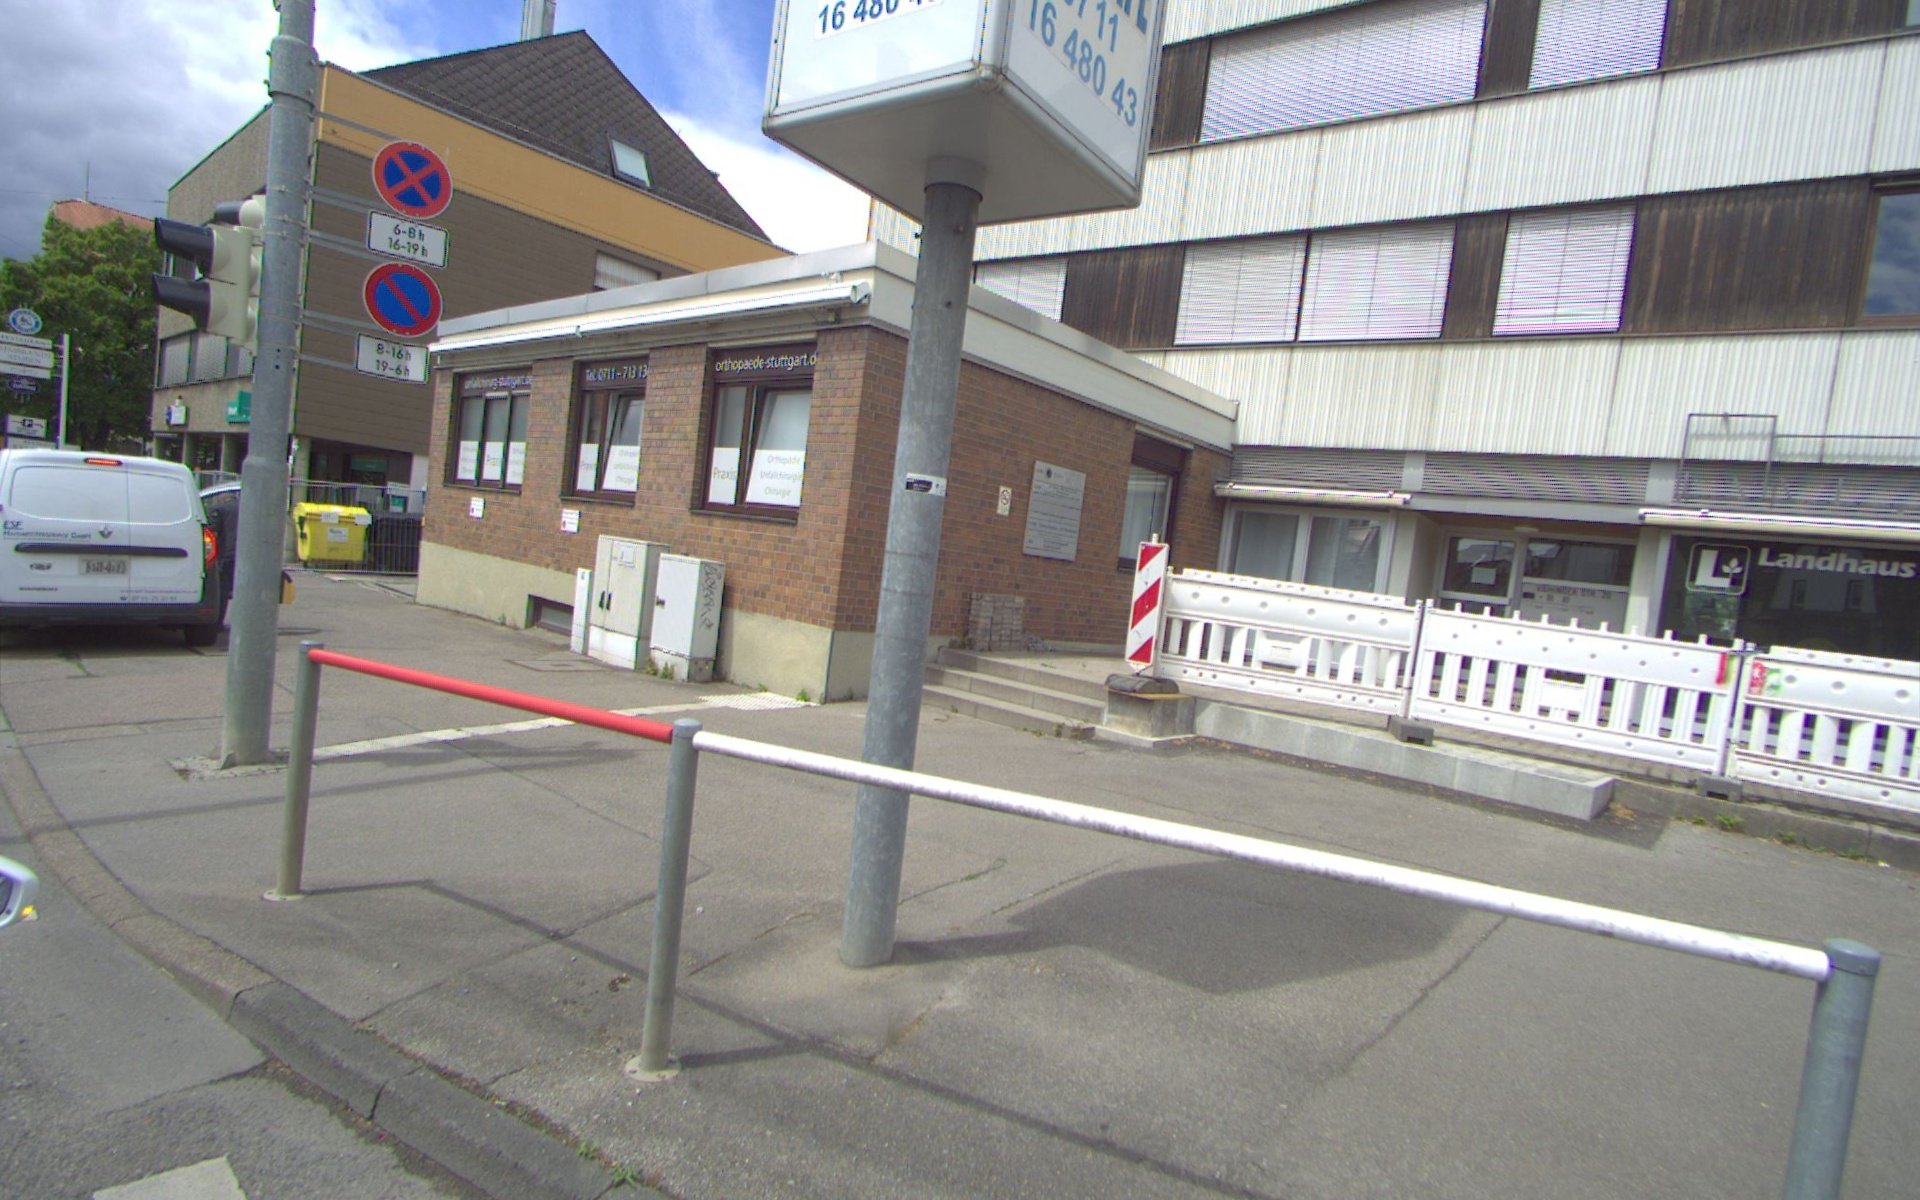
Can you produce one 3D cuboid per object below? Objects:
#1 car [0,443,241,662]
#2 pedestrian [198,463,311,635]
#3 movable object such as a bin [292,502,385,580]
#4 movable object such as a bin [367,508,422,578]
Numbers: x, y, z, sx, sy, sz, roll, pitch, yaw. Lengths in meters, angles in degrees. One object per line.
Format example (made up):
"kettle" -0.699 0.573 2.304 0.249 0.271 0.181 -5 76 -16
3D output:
"car" -9.089 -0.578 10.385 4.430 1.820 1.903 7 5 43
"pedestrian" -7.889 -0.559 11.251 0.642 1.827 0.840 8 4 42
"movable object such as a bin" -13.842 -1.302 22.403 1.477 1.512 1.062 4 5 -45
"movable object such as a bin" -13.046 -1.324 23.209 0.777 1.460 1.004 4 5 -44
